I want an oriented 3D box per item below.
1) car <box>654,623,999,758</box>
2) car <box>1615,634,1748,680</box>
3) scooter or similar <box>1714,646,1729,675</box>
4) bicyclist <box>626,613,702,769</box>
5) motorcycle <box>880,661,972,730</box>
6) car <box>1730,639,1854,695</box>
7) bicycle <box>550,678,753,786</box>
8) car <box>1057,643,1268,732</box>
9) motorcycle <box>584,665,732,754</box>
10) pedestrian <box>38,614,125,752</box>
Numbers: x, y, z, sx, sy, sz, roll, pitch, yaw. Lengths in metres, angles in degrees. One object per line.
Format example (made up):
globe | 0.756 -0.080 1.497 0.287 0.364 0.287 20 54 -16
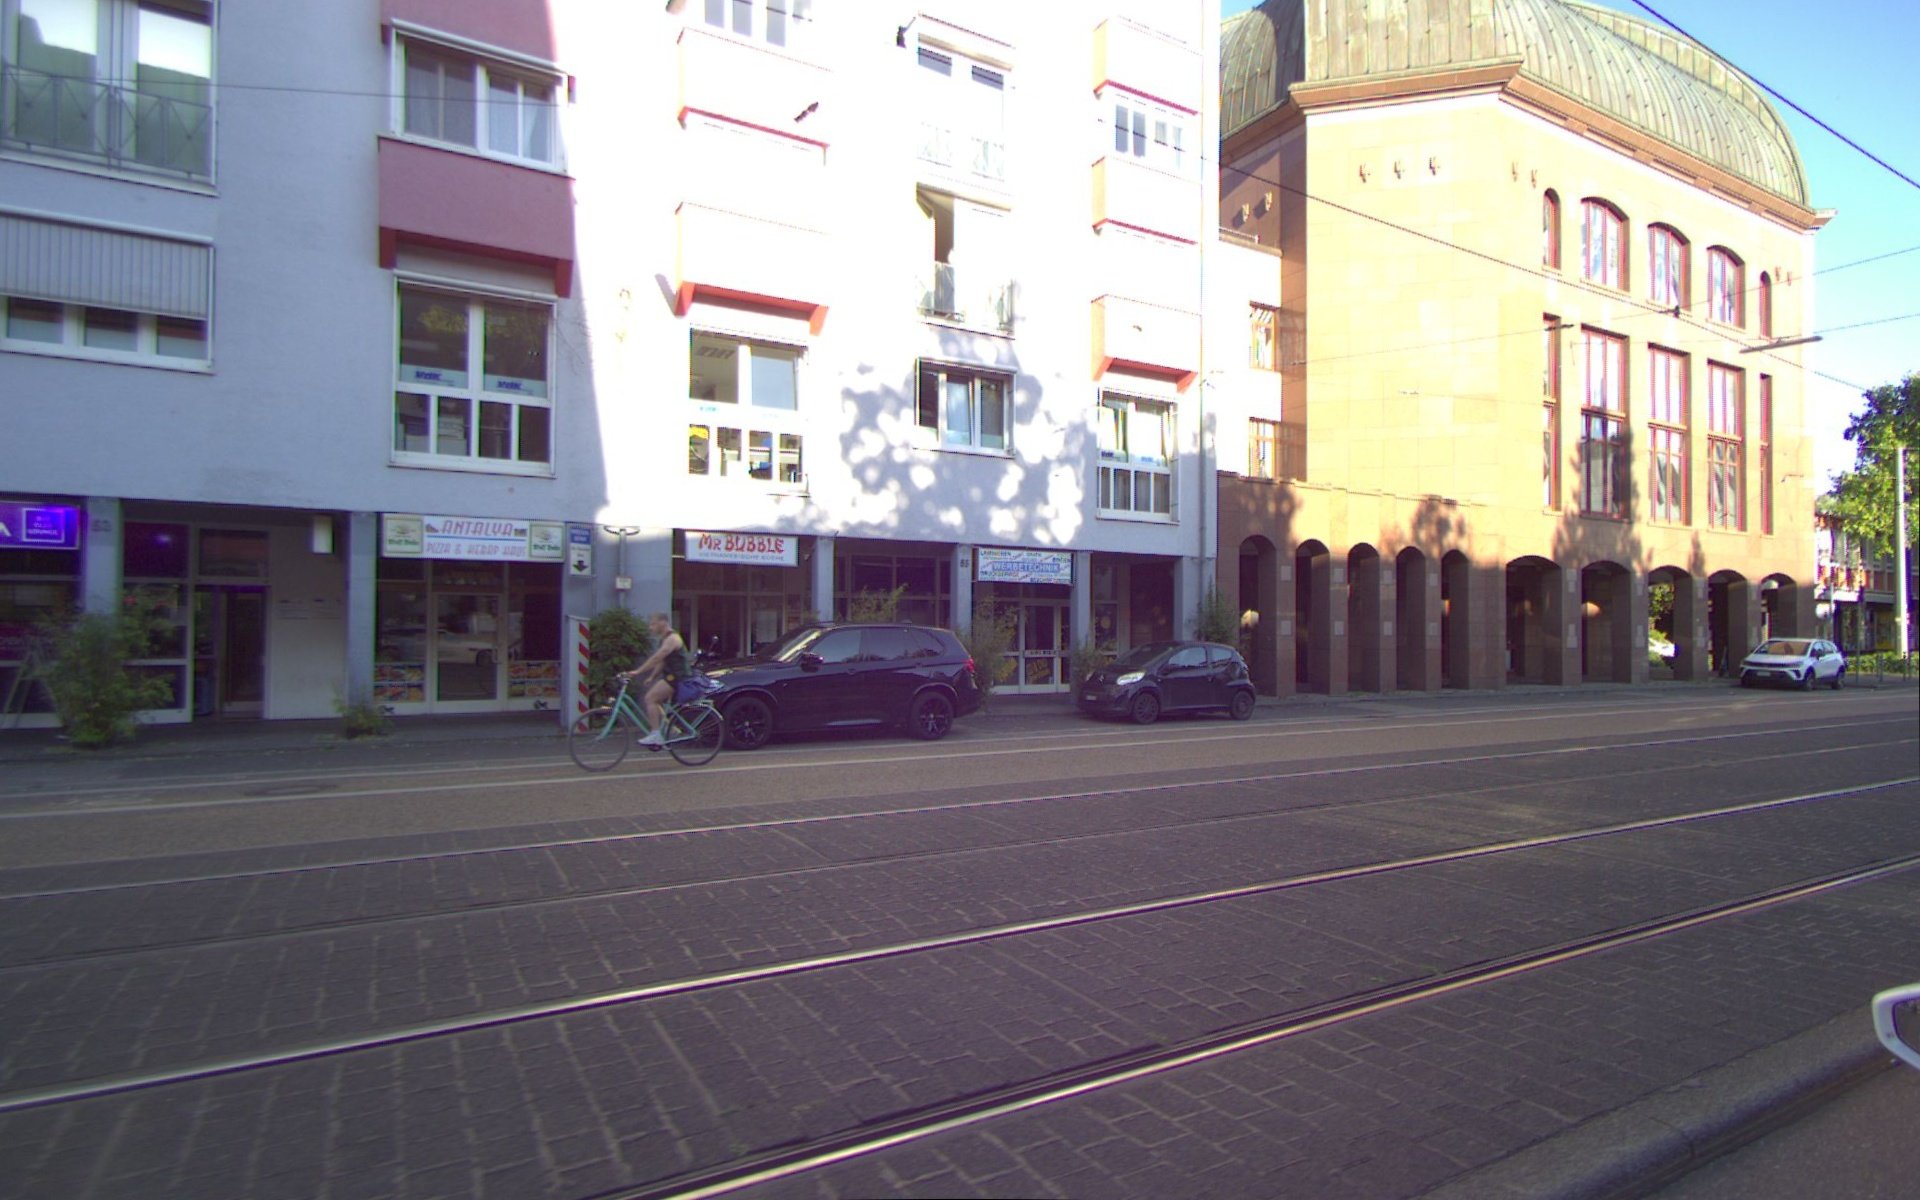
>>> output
car | -1.981 1.286 15.290 4.763 1.735 2.080 2 -1 -31
car | 34.716 2.699 48.456 2.135 2.020 4.874 1 -1 -41
scooter or similar | 26.531 2.106 35.002 0.358 0.951 0.968 2 1 40
bicyclist | -3.418 1.034 11.608 0.737 1.734 0.569 1 -3 -30
motorcycle | -0.599 1.670 17.816 1.526 1.148 0.567 2 -1 -31
car | 26.704 2.100 32.212 4.207 1.621 1.859 1 -1 -33
bicycle | -3.507 1.471 11.518 2.159 1.091 0.580 1 -4 -29
car | 3.823 1.583 18.999 3.537 1.470 1.863 1 -1 -27
motorcycle | -4.630 1.654 15.532 0.662 1.221 2.128 1 -1 43
pedestrian | -11.440 1.060 13.107 0.737 1.734 0.611 1 -1 -31
